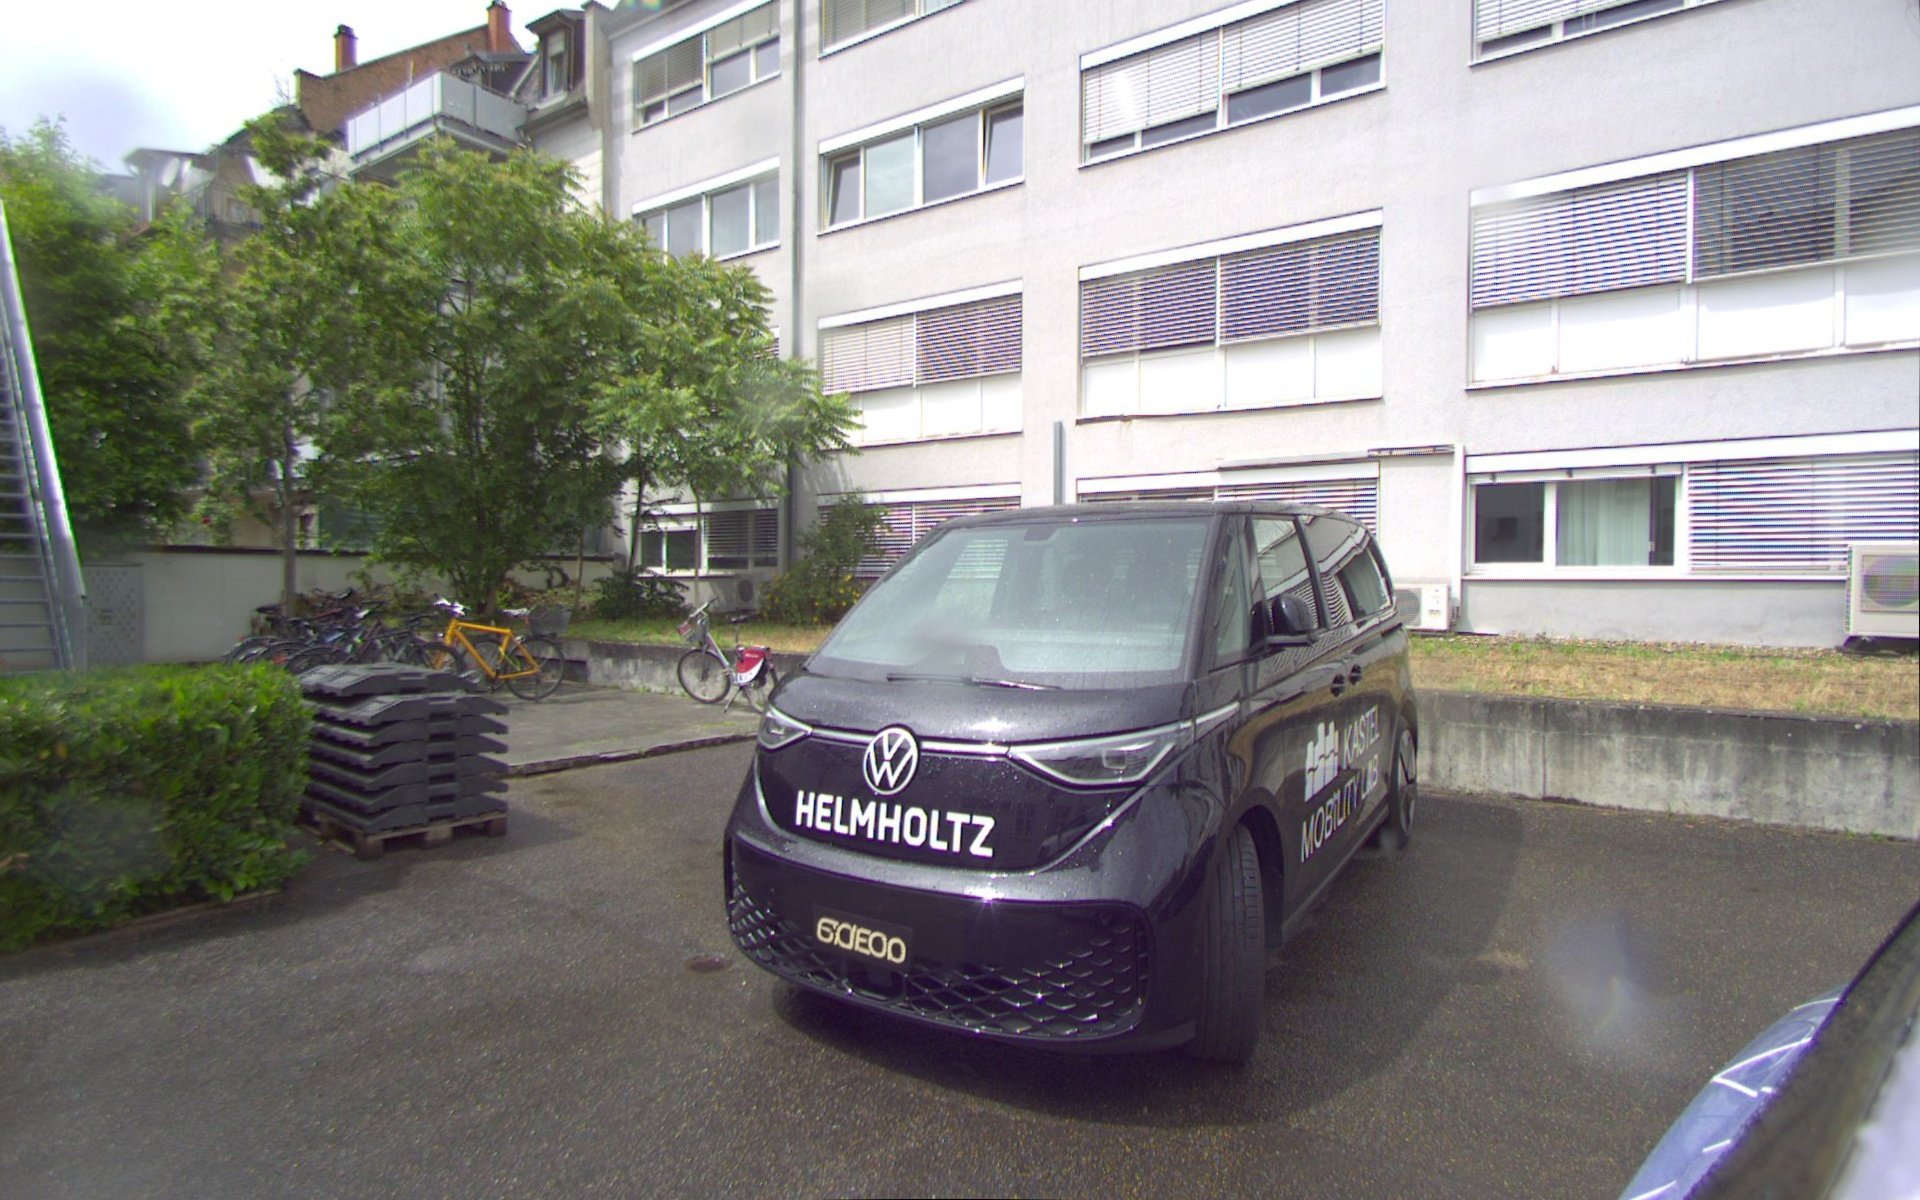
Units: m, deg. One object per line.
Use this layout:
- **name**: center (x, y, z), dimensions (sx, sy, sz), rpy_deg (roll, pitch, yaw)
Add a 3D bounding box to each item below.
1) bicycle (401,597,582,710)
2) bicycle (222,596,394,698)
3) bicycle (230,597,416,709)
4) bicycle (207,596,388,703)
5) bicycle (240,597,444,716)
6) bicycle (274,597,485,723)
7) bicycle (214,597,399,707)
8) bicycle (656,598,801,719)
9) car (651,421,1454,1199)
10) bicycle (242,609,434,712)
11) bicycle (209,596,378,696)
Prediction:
- **bicycle**: center (-5.005, 0.536, 10.921), dimensions (0.366, 1.117, 1.769), rpy_deg (1, 1, 42)
- **bicycle**: center (-7.773, 0.519, 12.144), dimensions (0.353, 1.117, 1.734), rpy_deg (1, 1, 34)
- **bicycle**: center (-6.898, 0.532, 11.043), dimensions (0.330, 1.117, 1.734), rpy_deg (1, 1, 34)
- **bicycle**: center (-7.533, 0.526, 11.585), dimensions (0.343, 1.117, 1.734), rpy_deg (1, 1, 34)
- **bicycle**: center (-6.325, 0.539, 10.443), dimensions (0.353, 1.117, 1.769), rpy_deg (1, 1, 42)
- **bicycle**: center (-5.669, 0.544, 9.975), dimensions (0.404, 1.117, 1.769), rpy_deg (2, 1, 42)
- **bicycle**: center (-7.195, 0.531, 11.233), dimensions (0.340, 1.117, 1.734), rpy_deg (1, 1, 34)
- **bicycle**: center (-2.441, 0.563, 10.549), dimensions (1.787, 1.117, 0.441), rpy_deg (2, 3, 39)
- **car**: center (1.022, 0.435, 4.942), dimensions (1.956, 1.888, 4.693), rpy_deg (0, 2, 33)
- **bicycle**: center (-6.613, 0.603, 10.857), dimensions (0.327, 0.979, 1.774), rpy_deg (1, 1, 34)
- **bicycle**: center (-8.082, 0.517, 12.353), dimensions (0.339, 1.117, 1.734), rpy_deg (1, 1, 34)
